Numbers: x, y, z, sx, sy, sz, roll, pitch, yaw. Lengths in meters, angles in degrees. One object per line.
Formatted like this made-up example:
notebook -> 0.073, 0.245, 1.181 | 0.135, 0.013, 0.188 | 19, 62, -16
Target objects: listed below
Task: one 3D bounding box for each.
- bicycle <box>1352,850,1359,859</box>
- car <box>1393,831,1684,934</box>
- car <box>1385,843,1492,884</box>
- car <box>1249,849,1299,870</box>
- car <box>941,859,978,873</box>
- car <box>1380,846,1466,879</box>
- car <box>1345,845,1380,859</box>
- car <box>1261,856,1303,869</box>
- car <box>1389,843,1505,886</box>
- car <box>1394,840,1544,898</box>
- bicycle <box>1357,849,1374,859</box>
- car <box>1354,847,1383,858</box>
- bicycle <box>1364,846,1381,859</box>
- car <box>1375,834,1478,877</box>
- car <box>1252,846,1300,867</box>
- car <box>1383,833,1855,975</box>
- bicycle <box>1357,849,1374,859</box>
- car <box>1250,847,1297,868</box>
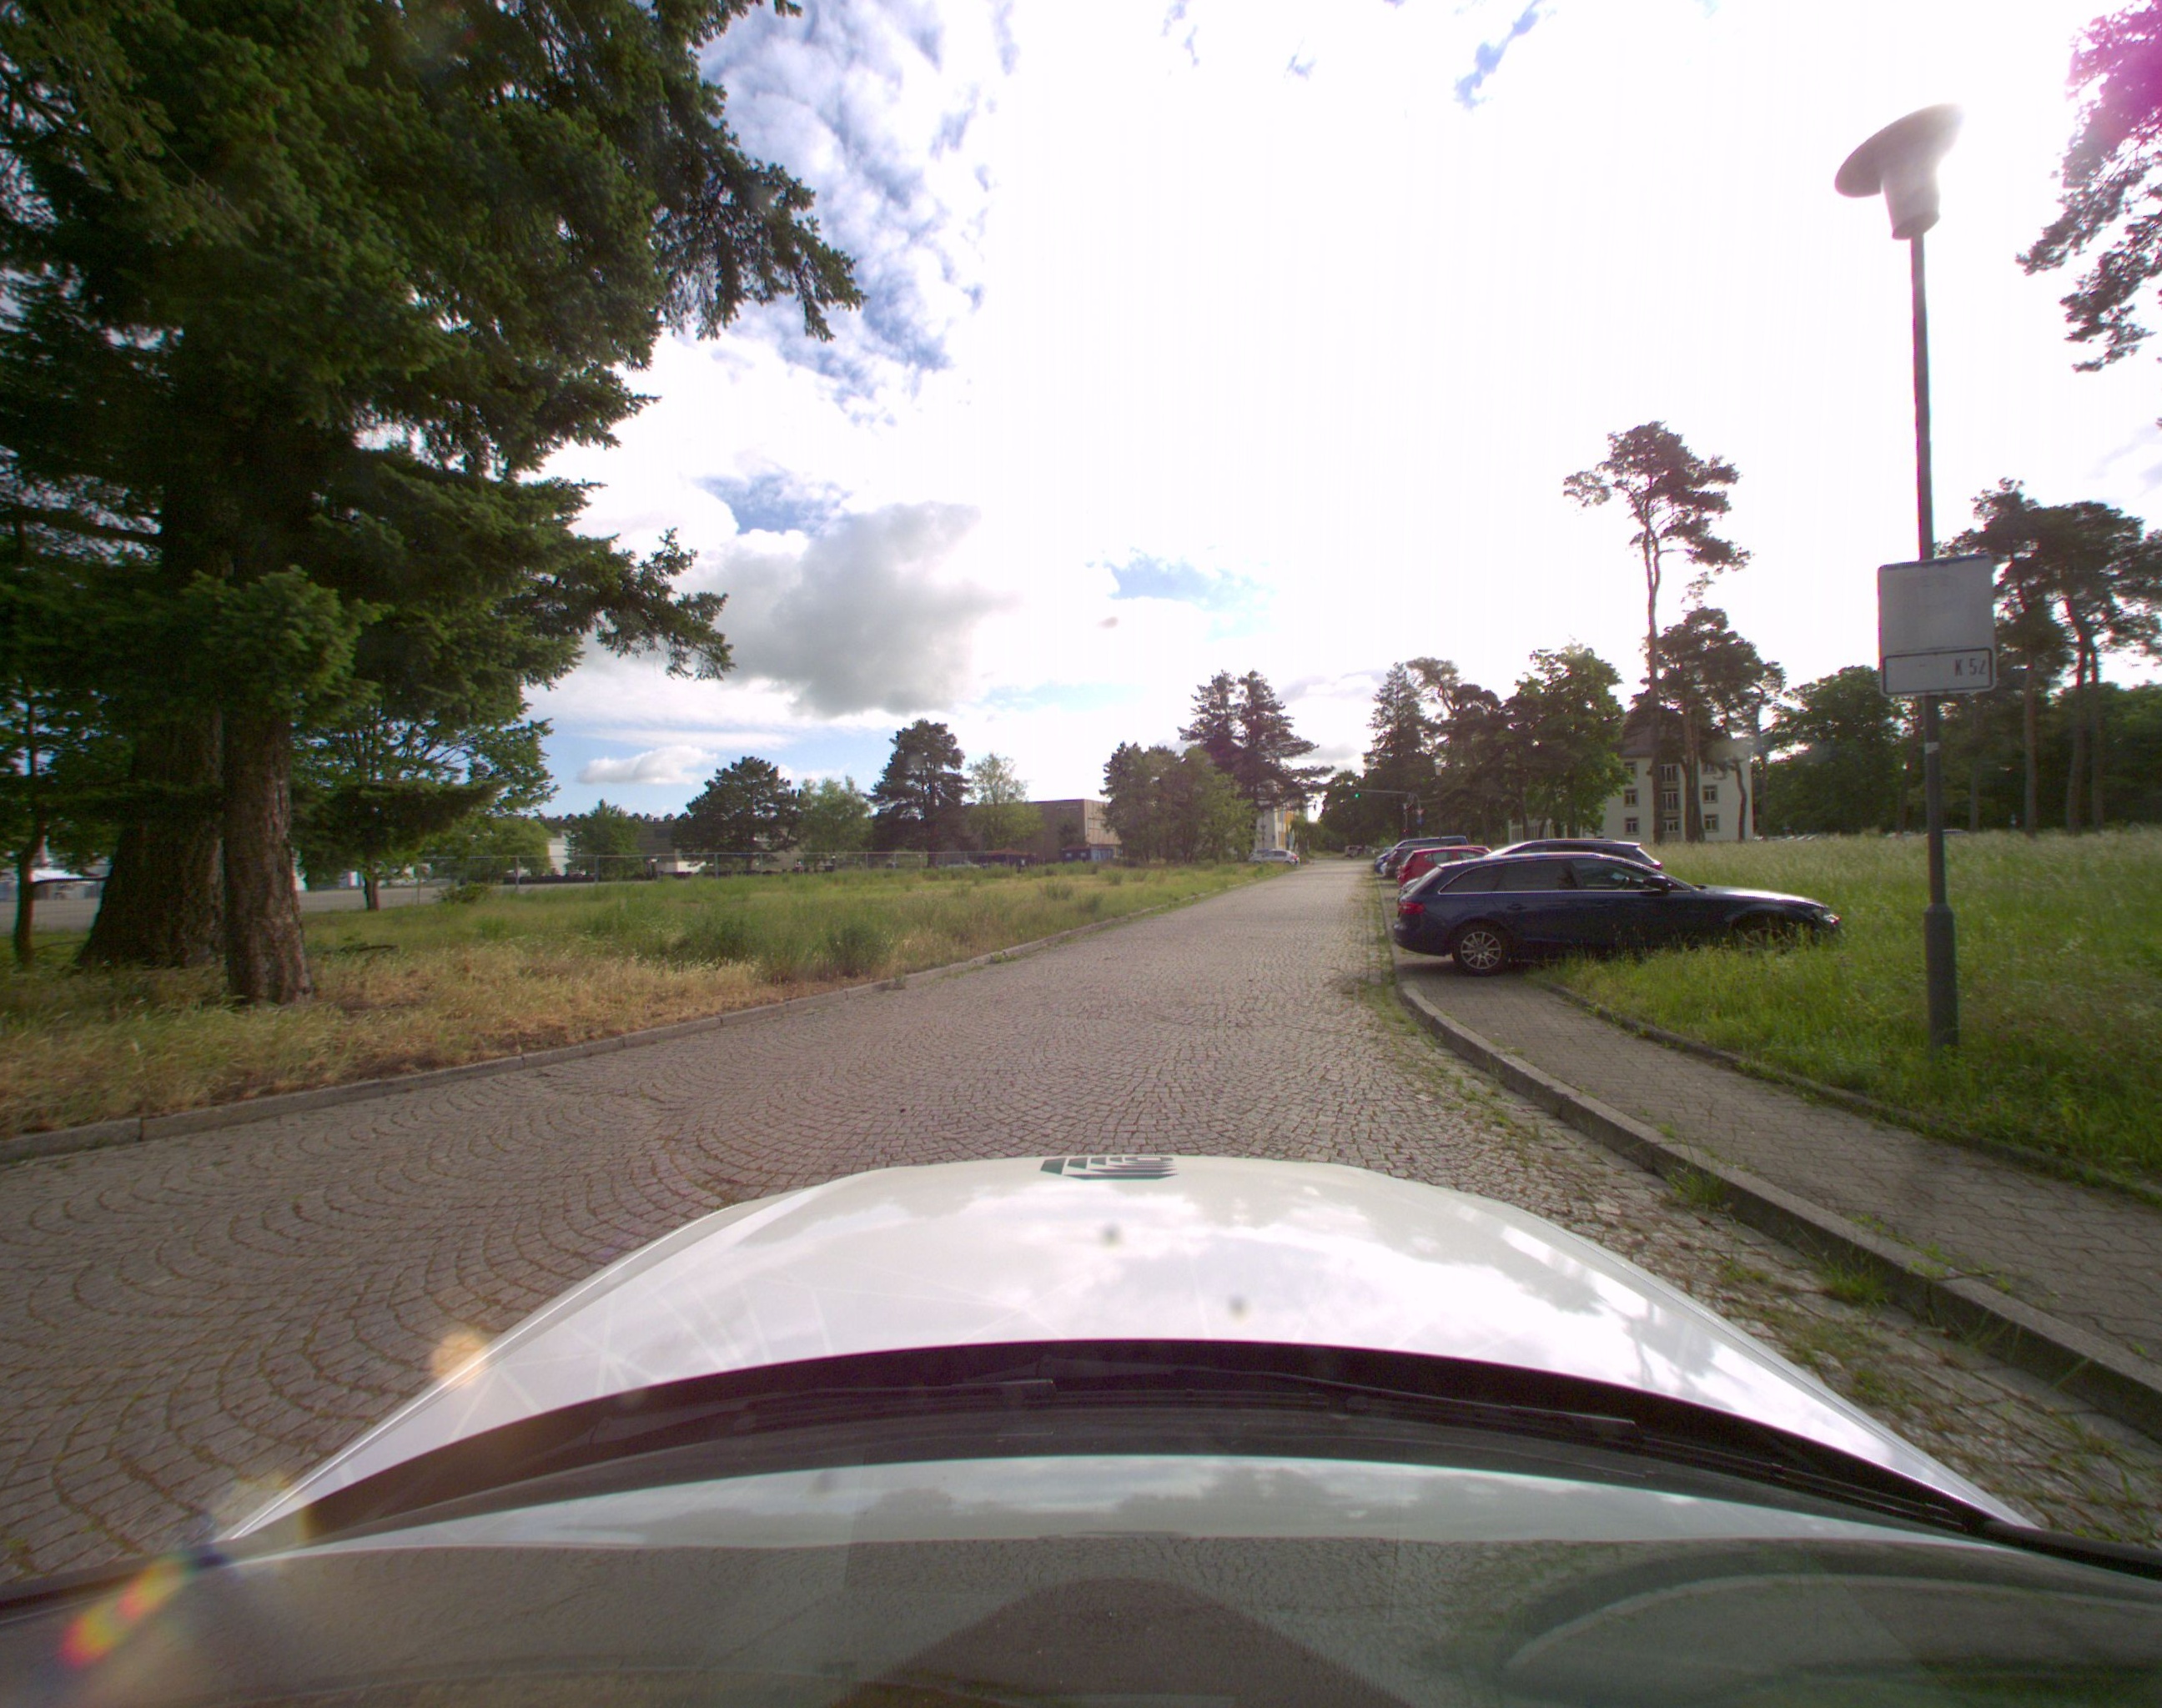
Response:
bicycle -> 36.810, 0.055, 109.294 | 0.803, 1.268, 1.983 | -2, 0, 21
car -> 7.913, 0.510, 14.594 | 4.228, 1.573, 1.905 | -3, 0, 19
car -> 14.826, 0.394, 33.977 | 3.918, 1.580, 1.770 | -2, 0, 18
car -> 16.017, 0.448, 67.560 | 3.959, 1.552, 2.007 | -2, 0, 13
car -> -14.440, 1.394, 96.774 | 3.954, 1.553, 1.817 | -2, 0, 19
car -> 16.778, 0.399, 40.163 | 3.693, 1.424, 1.662 | -3, -1, 17
car -> 44.700, -0.340, 129.513 | 5.020, 2.013, 2.005 | -1, 0, 9
car -> 18.501, 0.759, 74.981 | 3.645, 1.094, 1.652 | -2, 0, 13
car -> 14.120, 0.410, 31.676 | 3.954, 1.518, 1.747 | -2, 0, 19
car -> 11.438, 0.438, 24.292 | 3.808, 1.505, 1.746 | -3, 0, 18
bicycle -> 39.441, -0.033, 113.002 | 2.145, 1.268, 0.815 | -2, 0, 13
car -> 44.505, -0.232, 126.092 | 3.959, 1.644, 2.007 | -1, 0, 13
bicycle -> 40.548, -0.211, 113.371 | 2.145, 1.616, 0.815 | -2, 0, 13
car -> 17.913, 0.091, 42.400 | 4.744, 2.040, 1.746 | -2, 0, 17
car -> 16.761, 0.216, 70.047 | 3.959, 1.706, 2.007 | -2, 0, 13
car -> 6.214, 0.613, 10.099 | 4.465, 1.464, 1.906 | -3, 0, 23
bicycle -> 39.248, -0.036, 112.444 | 2.145, 1.268, 0.815 | -2, 0, 13
car -> 17.222, 0.325, 72.953 | 3.960, 1.750, 1.934 | -1, 0, 12
